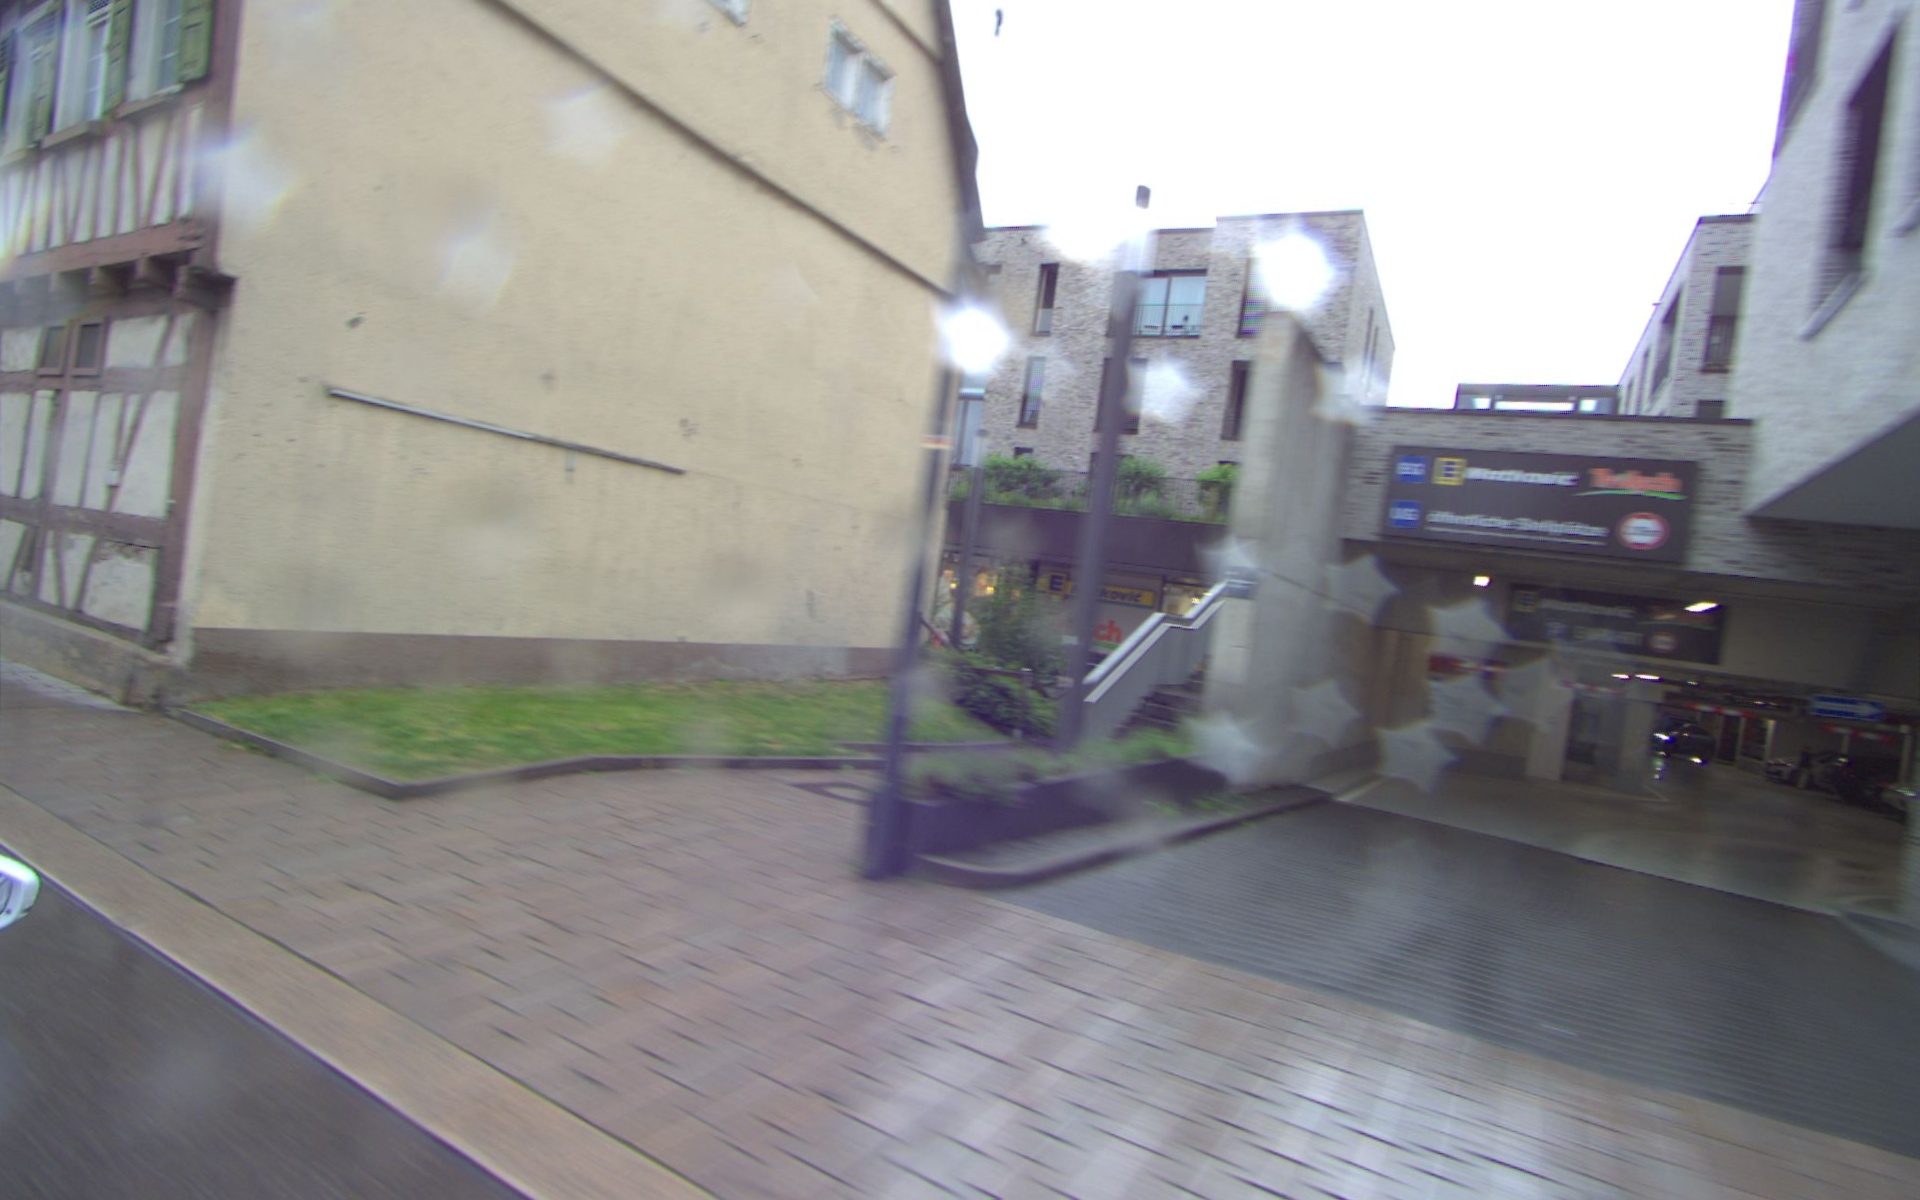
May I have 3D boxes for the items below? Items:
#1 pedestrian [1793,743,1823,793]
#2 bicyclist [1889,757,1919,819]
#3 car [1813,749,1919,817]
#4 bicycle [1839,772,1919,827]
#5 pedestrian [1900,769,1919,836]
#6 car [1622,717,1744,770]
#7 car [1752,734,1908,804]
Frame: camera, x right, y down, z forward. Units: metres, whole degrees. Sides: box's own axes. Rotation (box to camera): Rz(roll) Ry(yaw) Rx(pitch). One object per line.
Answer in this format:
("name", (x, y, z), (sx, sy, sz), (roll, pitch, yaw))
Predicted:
("pedestrian", (29.908, 5.914, 35.477), (0.564, 1.566, 0.804), (8, 3, 34))
("bicyclist", (26.006, 5.140, 27.610), (0.669, 1.557, 0.524), (4, 3, -43))
("car", (29.713, 5.888, 31.654), (3.931, 1.528, 1.930), (7, 2, 29))
("bicycle", (25.983, 5.573, 27.607), (0.696, 1.105, 2.628), (4, 3, -42))
("pedestrian", (24.028, 5.071, 25.078), (0.564, 1.566, 0.804), (8, 3, 34))
("car", (32.227, 6.390, 44.927), (3.926, 1.639, 1.889), (6, 2, -2))
("car", (31.836, 6.150, 36.976), (3.934, 1.639, 1.780), (7, 2, 32))
